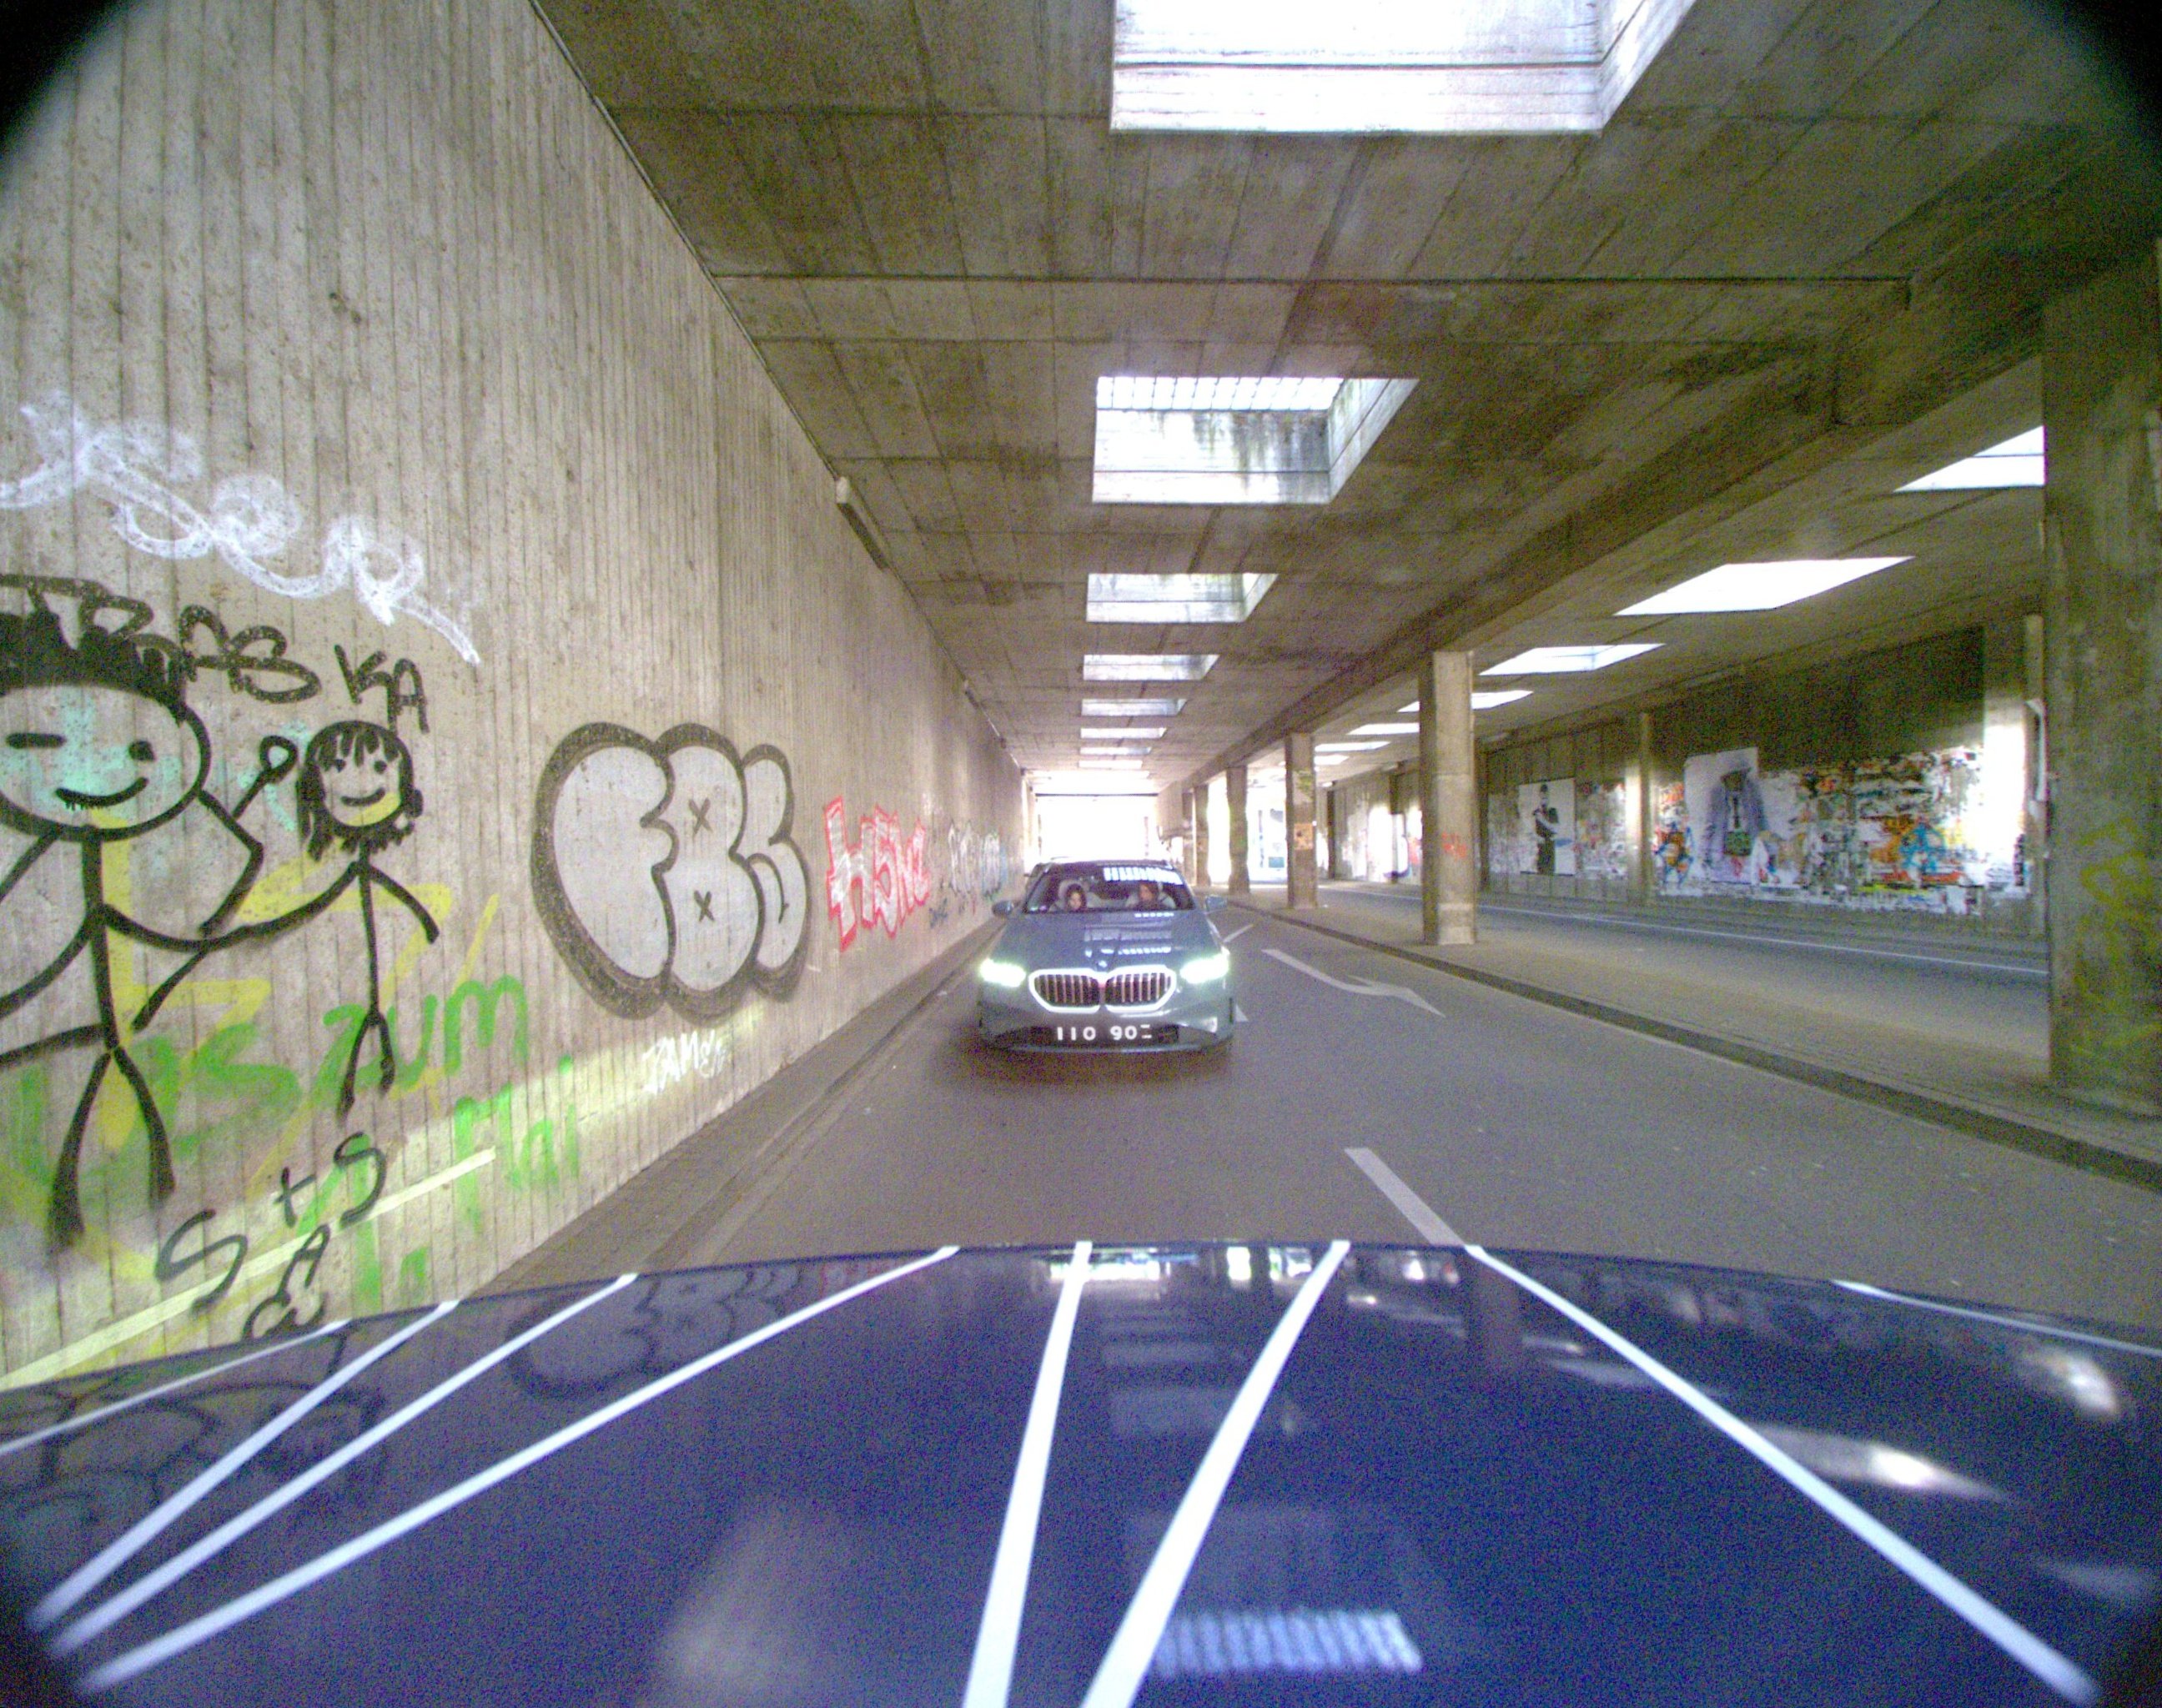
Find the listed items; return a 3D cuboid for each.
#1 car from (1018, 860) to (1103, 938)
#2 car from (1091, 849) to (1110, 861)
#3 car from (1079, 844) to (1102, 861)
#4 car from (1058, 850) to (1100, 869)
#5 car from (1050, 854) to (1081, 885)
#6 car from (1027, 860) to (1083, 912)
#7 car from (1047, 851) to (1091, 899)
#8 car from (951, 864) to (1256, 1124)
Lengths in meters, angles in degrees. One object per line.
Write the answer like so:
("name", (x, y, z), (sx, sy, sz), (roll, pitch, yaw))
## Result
("car", (-0.424, 0.921, 17.277), (1.679, 1.516, 3.969), (-2, 0, 0))
("car", (2.478, 0.142, 97.957), (1.741, 1.519, 3.786), (-2, 0, -9))
("car", (1.281, -0.188, 103.649), (2.161, 2.150, 4.785), (-2, 0, -12))
("car", (-0.187, 0.507, 73.023), (3.873, 1.597, 1.728), (-3, 1, 1))
("car", (-0.806, 0.807, 41.237), (1.592, 1.562, 3.694), (-2, 0, 0))
("car", (-0.760, 0.949, 23.903), (1.592, 1.432, 3.806), (-2, 0, 0))
("car", (-0.462, 0.772, 29.910), (1.592, 1.711, 3.694), (-2, 0, 0))
("car", (0.129, 0.906, 7.268), (1.861, 1.516, 5.042), (-2, 0, 0))
